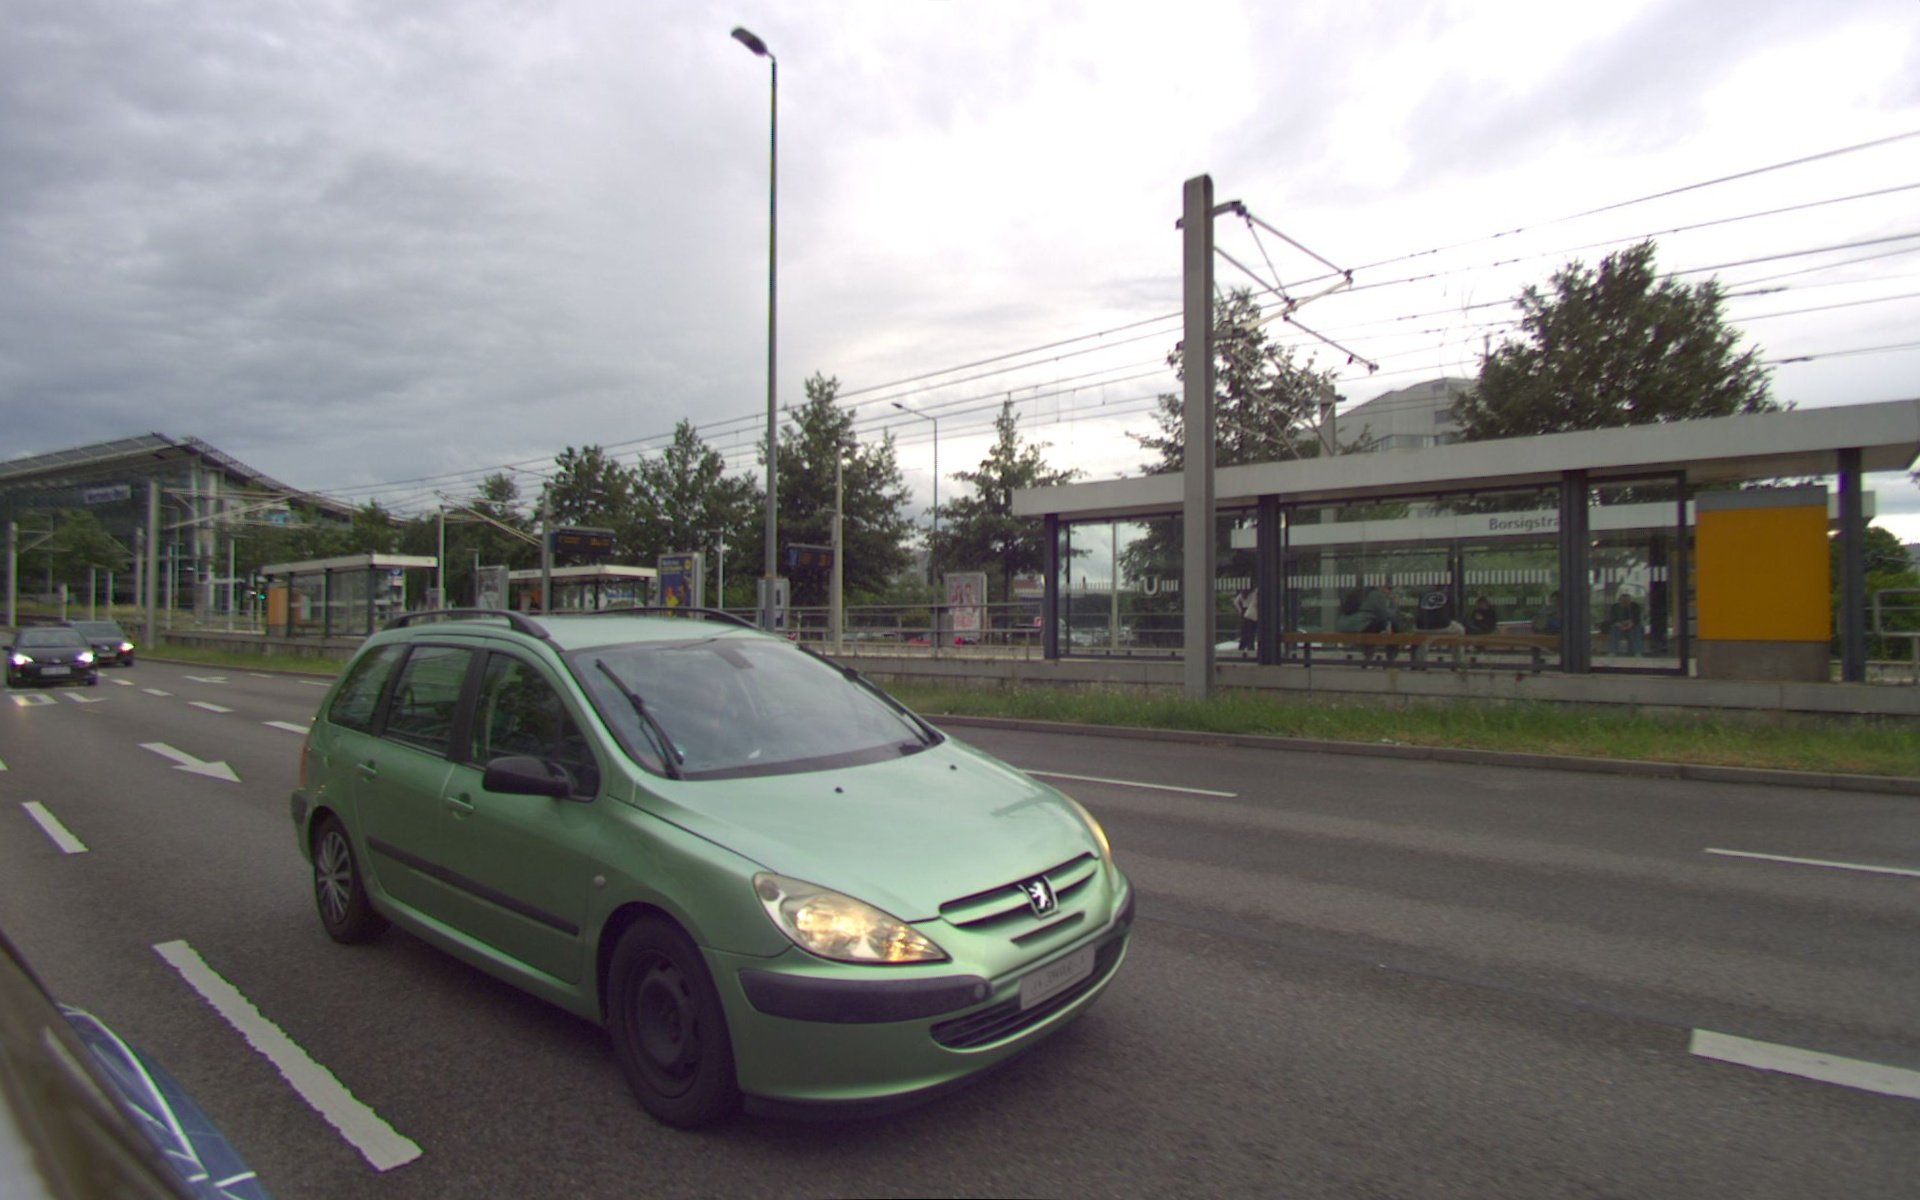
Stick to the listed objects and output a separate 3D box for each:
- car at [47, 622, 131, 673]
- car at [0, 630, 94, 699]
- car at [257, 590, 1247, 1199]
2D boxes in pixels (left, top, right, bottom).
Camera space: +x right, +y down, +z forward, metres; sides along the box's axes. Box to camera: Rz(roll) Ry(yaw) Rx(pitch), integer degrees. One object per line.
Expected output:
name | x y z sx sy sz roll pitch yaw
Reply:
car | -30.443 1.607 35.337 4.192 1.604 1.708 -1 0 42
car | -23.666 1.597 26.067 3.905 1.534 1.674 -1 0 44
car | -1.240 0.736 4.235 4.399 1.479 1.678 -1 0 40
